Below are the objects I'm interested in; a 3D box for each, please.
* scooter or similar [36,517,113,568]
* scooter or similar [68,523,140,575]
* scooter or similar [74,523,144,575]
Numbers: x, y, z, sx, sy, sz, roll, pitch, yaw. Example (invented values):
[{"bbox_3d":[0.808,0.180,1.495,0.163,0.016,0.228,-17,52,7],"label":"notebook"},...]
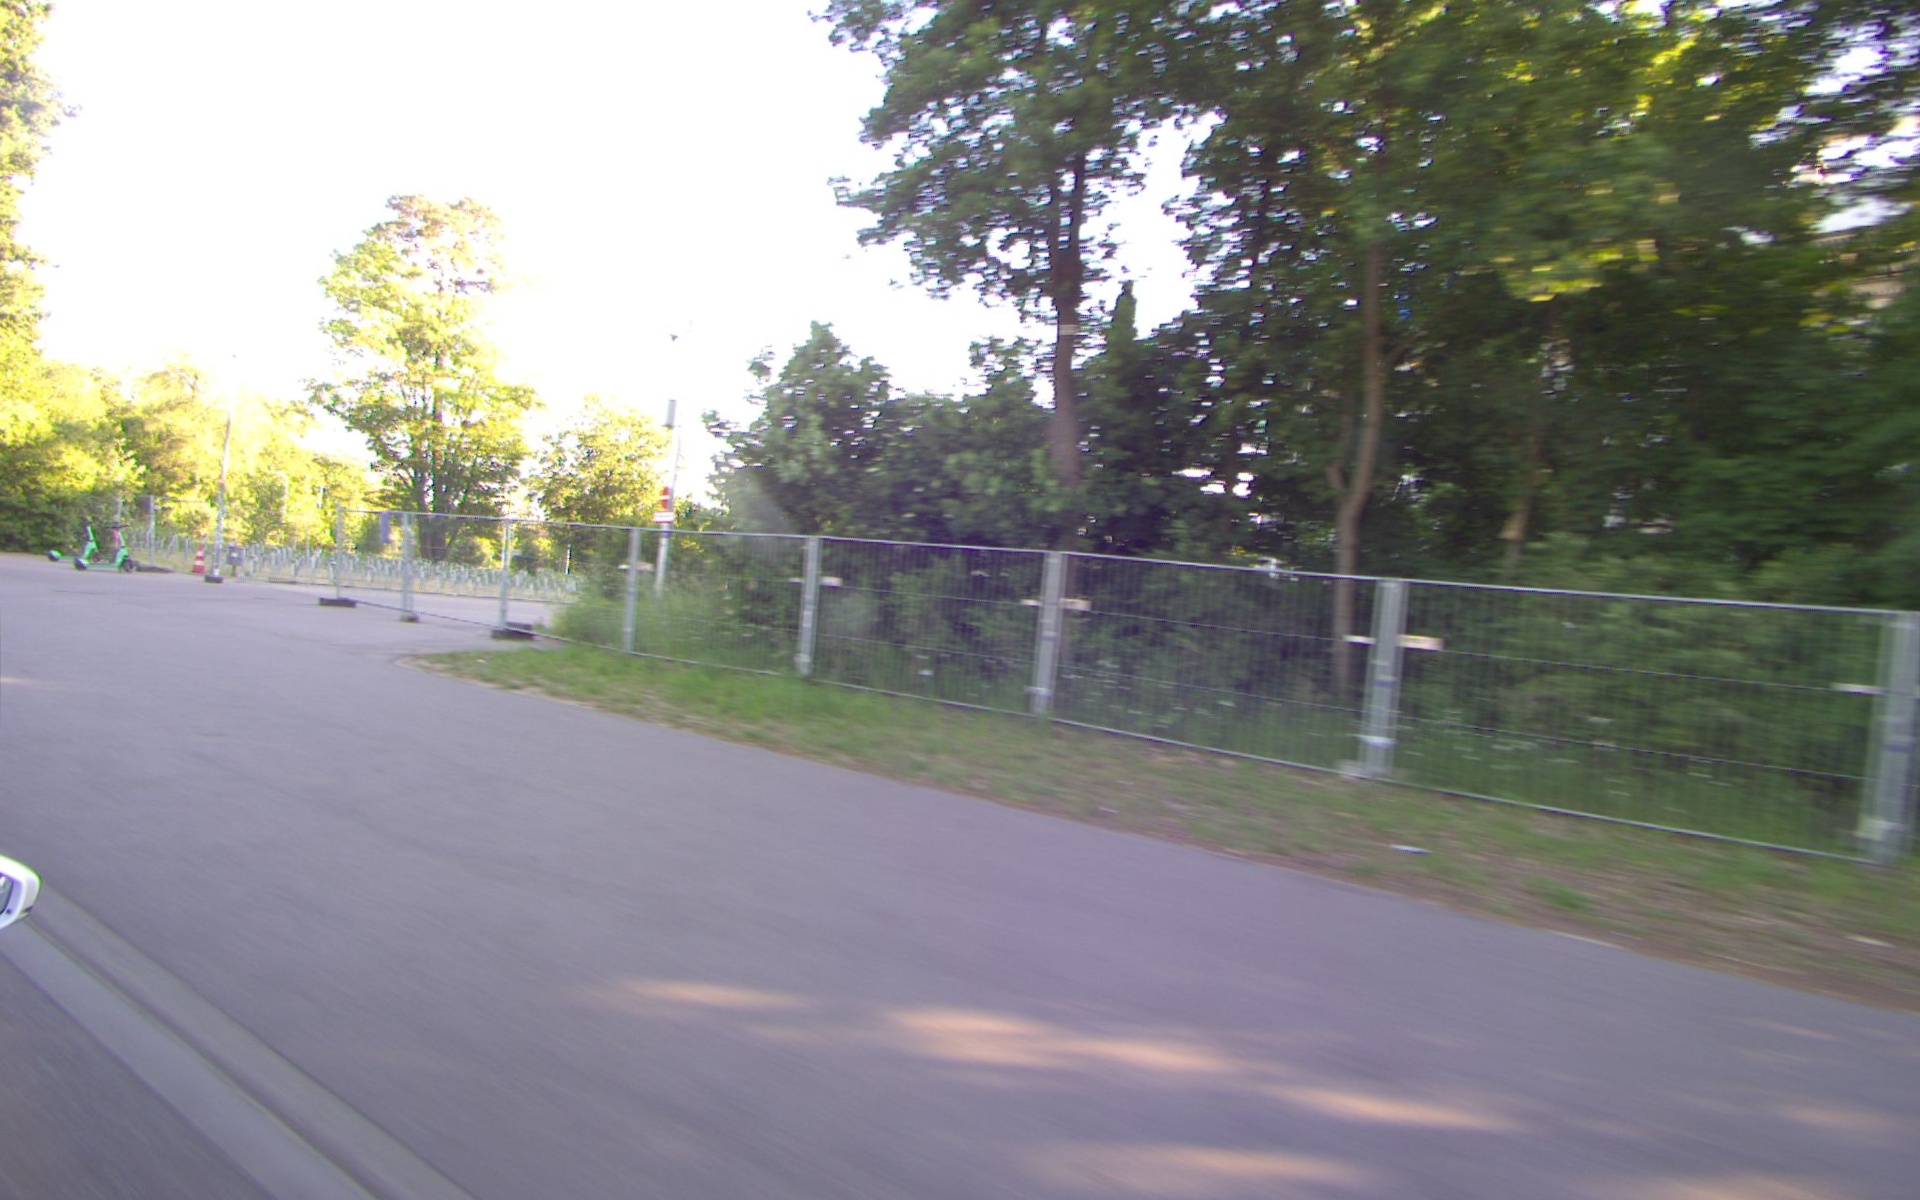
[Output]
[{"bbox_3d":[-23.866,-1.540,27.129,1.426,1.181,0.391,5,0,-29],"label":"scooter or similar"},{"bbox_3d":[-21.153,-1.253,24.863,0.388,1.161,1.263,5,0,40],"label":"scooter or similar"},{"bbox_3d":[-21.474,-1.280,25.401,1.235,1.181,0.391,5,0,-33],"label":"scooter or similar"}]
